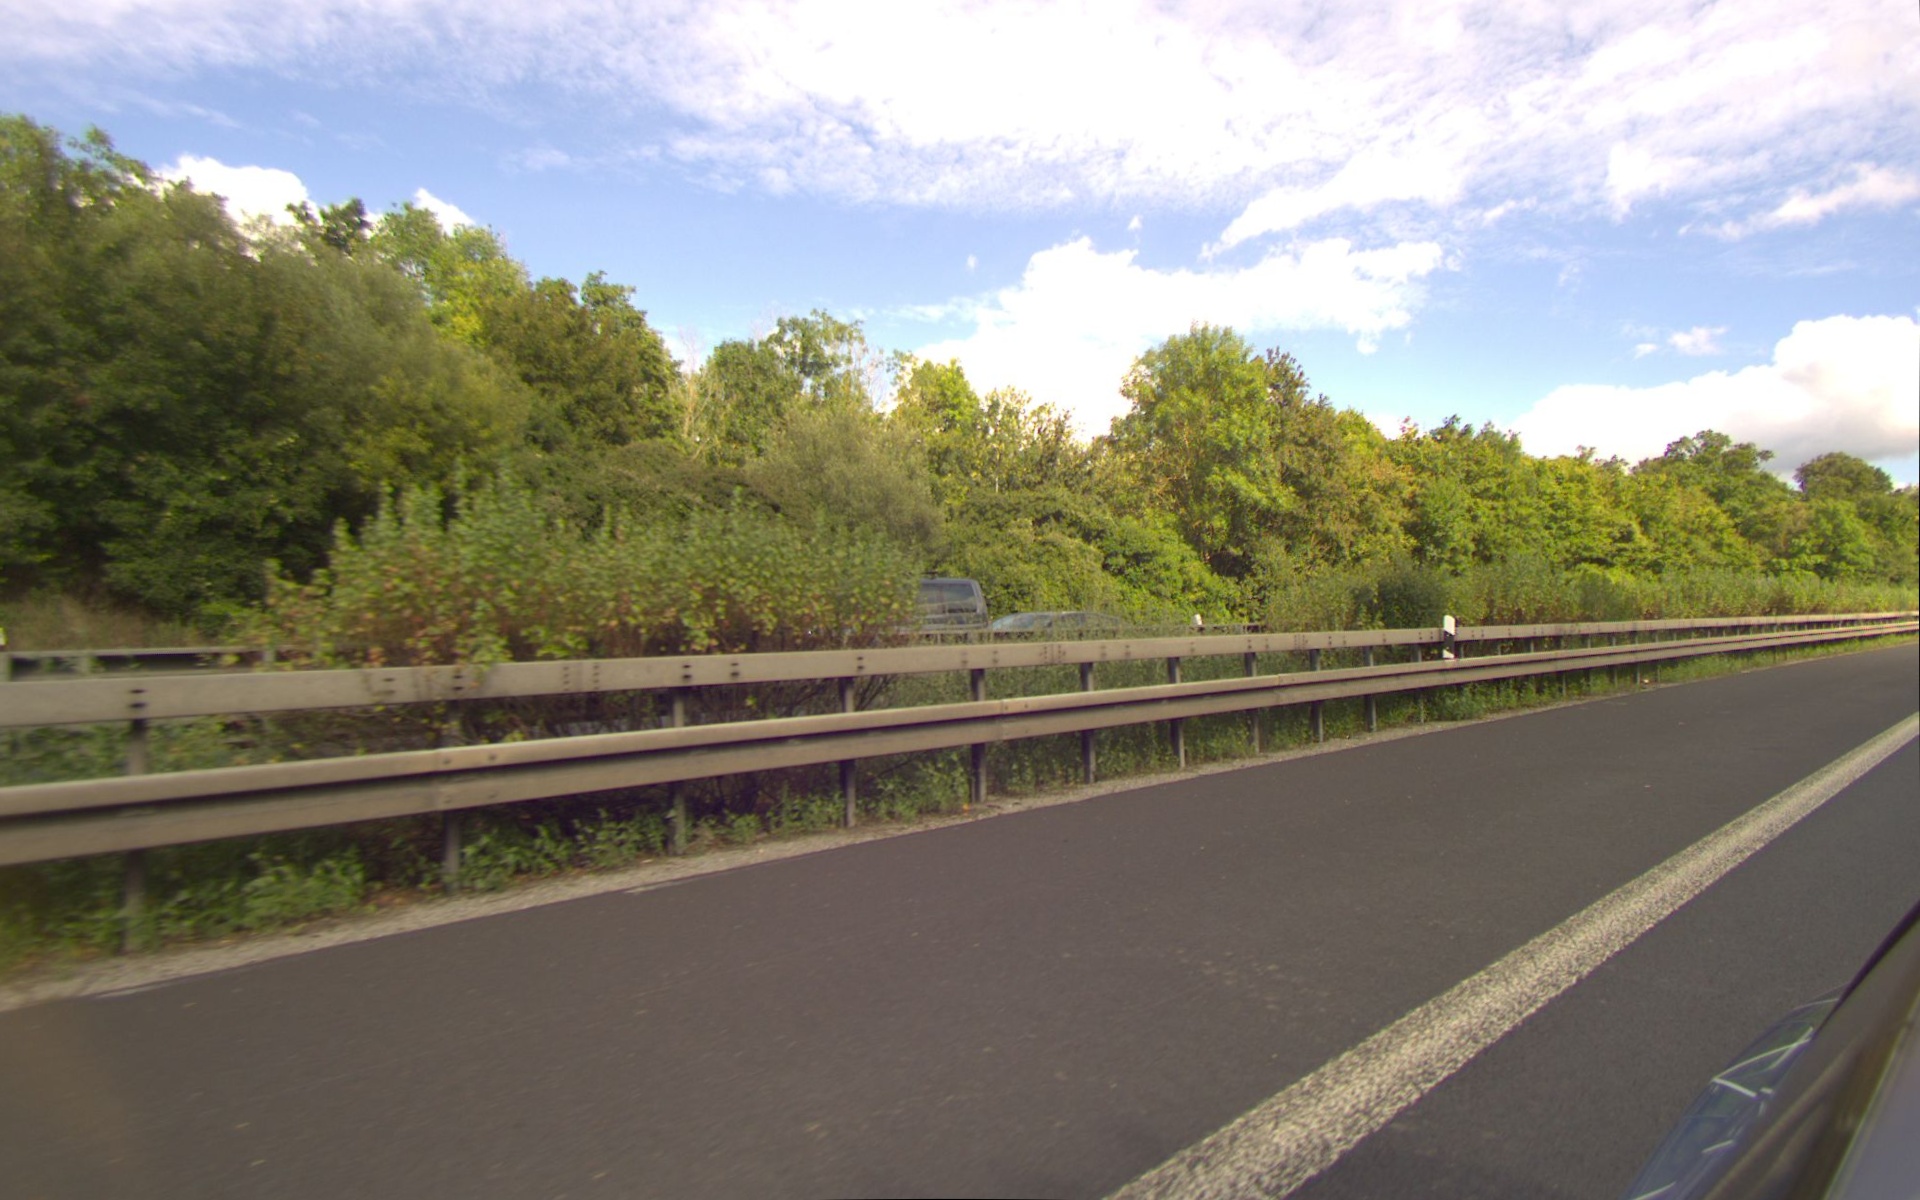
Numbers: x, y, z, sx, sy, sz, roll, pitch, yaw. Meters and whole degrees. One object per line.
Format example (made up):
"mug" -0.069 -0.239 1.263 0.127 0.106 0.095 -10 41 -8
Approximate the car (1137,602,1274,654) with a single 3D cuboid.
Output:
"car" 7.938 0.845 32.501 4.784 1.529 1.771 0 0 -40

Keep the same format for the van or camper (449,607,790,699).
"van or camper" -6.553 0.932 20.151 6.242 1.529 1.770 0 0 -41

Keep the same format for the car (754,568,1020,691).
"car" -1.284 0.487 19.208 4.823 2.039 1.997 0 0 -41

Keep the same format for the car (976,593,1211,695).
"car" 2.334 0.658 17.155 3.929 1.529 1.771 0 0 -40
